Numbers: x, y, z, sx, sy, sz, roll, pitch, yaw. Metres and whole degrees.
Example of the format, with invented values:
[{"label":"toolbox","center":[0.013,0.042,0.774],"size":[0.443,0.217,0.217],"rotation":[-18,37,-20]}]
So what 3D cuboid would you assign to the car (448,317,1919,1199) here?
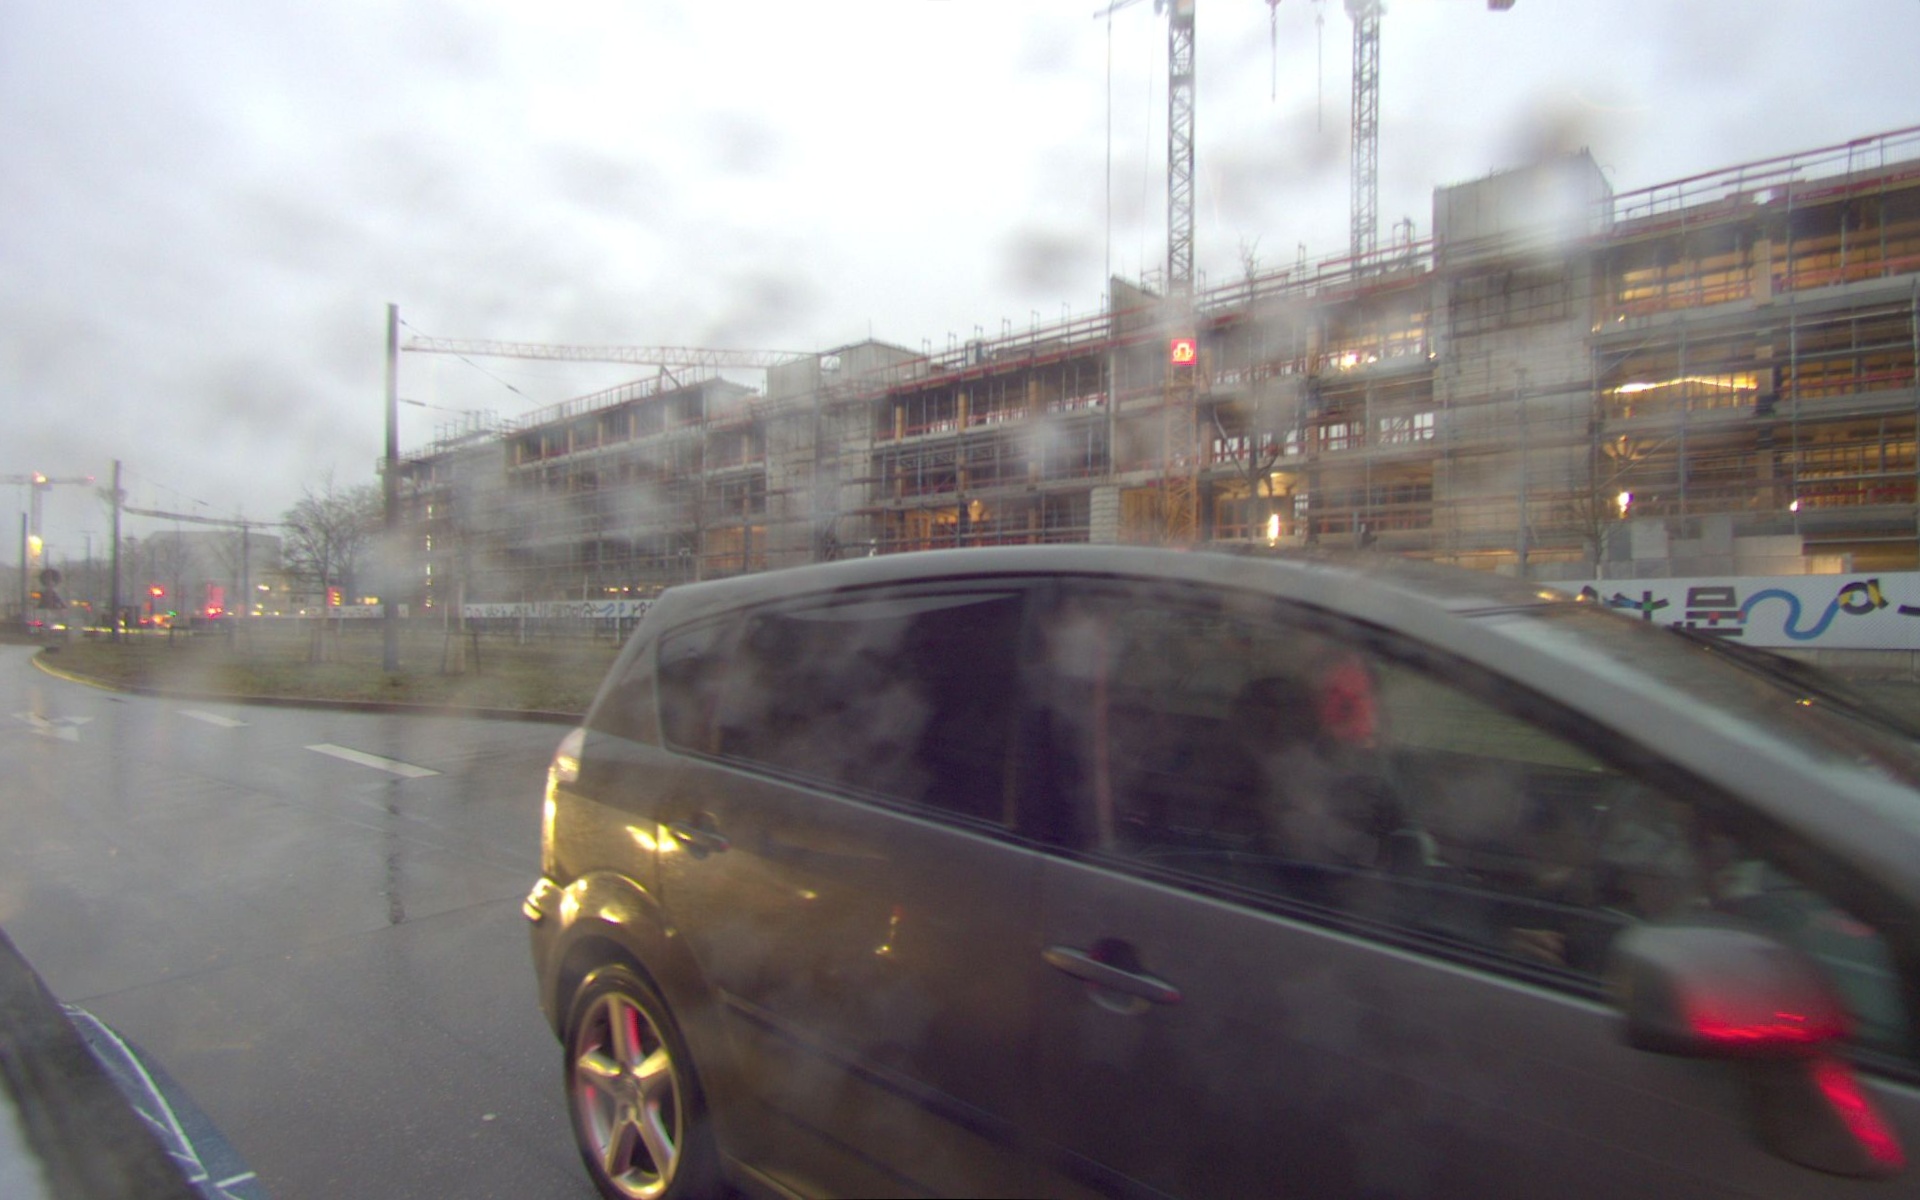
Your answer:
[{"label":"car","center":[0.801,0.597,2.066],"size":[4.131,1.659,1.793],"rotation":[-1,-1,39]}]
